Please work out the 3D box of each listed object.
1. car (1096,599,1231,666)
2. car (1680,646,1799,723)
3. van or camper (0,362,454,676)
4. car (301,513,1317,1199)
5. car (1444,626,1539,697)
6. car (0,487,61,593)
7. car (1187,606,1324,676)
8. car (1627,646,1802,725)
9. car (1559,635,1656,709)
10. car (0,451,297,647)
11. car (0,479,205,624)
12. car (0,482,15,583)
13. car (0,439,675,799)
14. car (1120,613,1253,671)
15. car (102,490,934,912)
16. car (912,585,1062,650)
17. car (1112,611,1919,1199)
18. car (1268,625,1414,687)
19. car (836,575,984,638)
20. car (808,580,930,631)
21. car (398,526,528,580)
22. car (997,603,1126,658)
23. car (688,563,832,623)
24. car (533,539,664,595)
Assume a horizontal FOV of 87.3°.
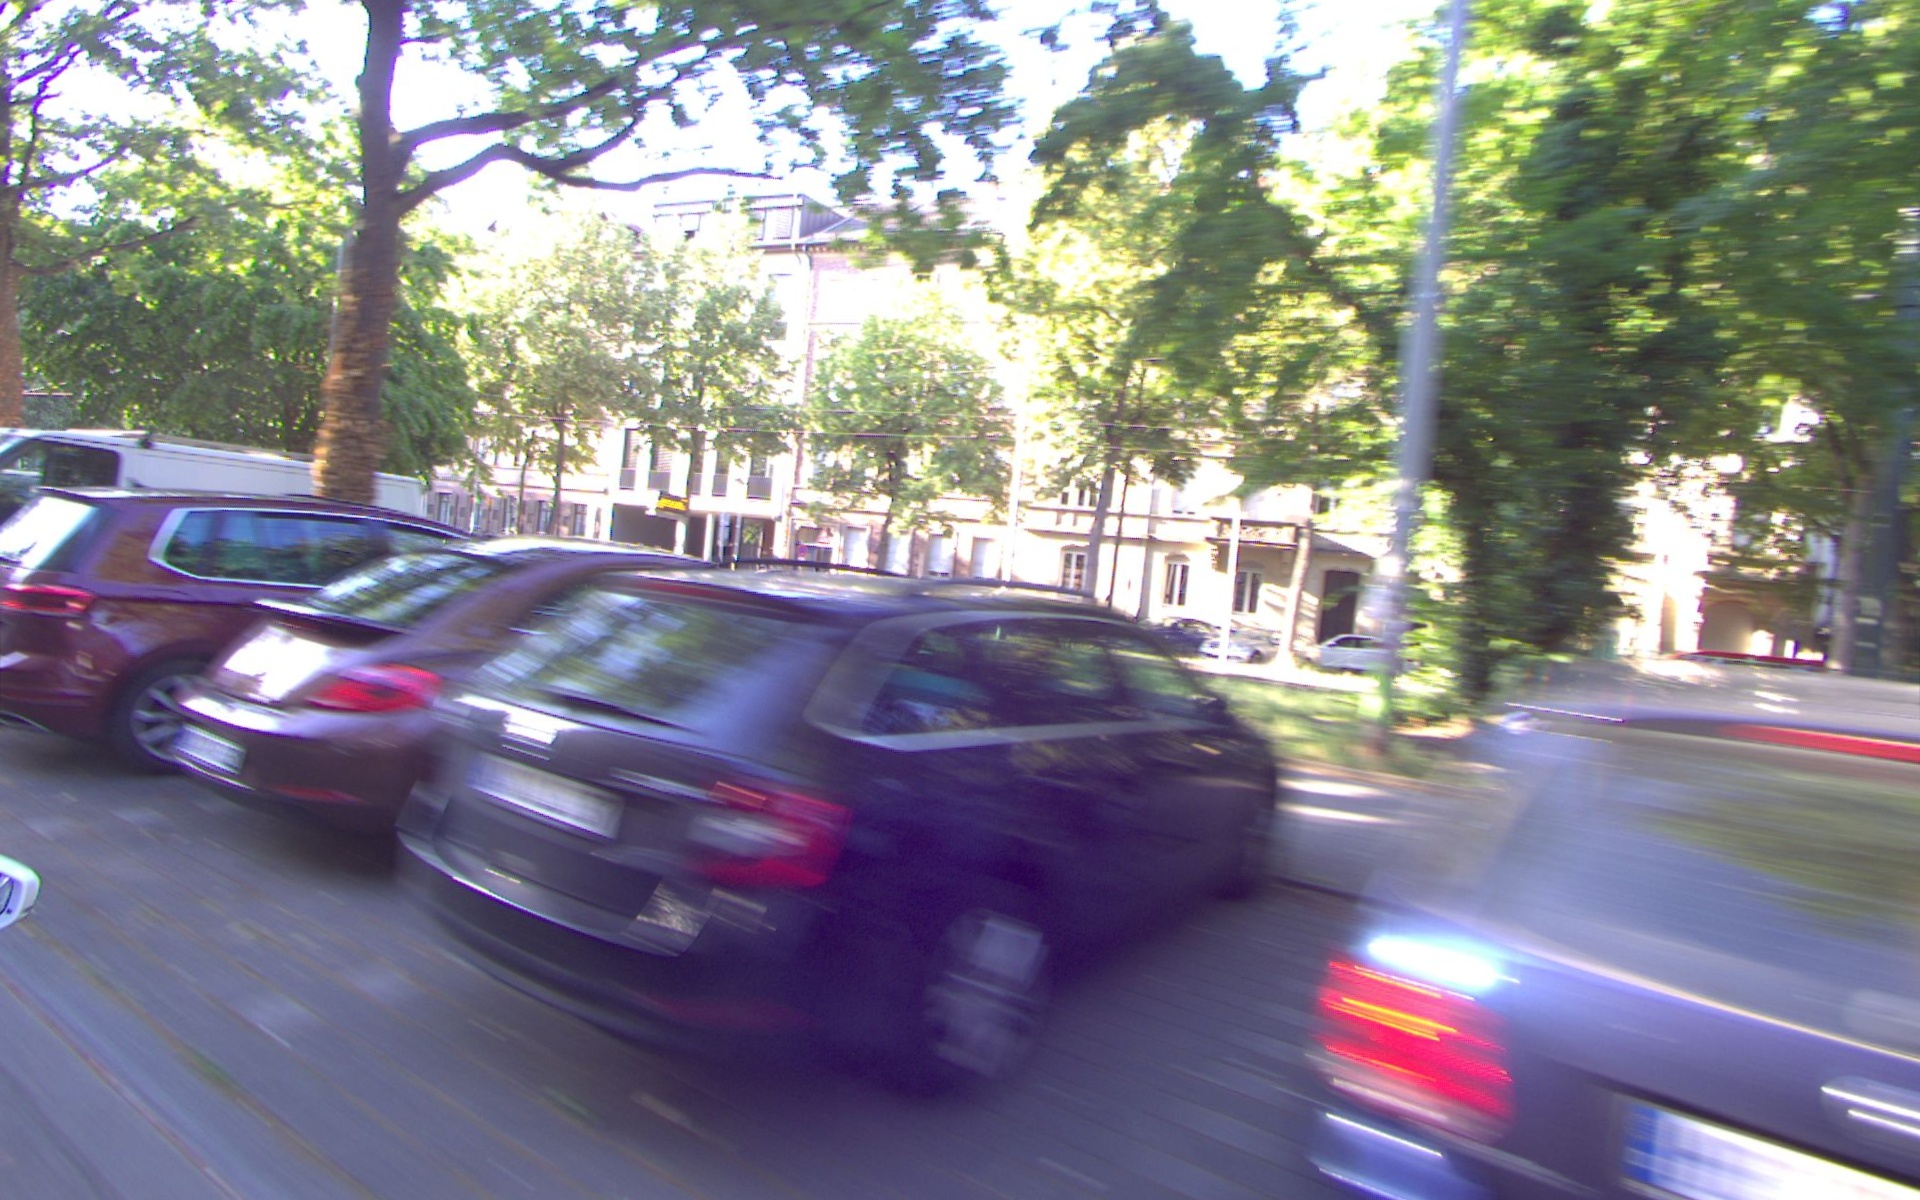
[{"bbox_3d":[6.436,1.050,31.606,3.967,1.704,1.980,7,-2,-38],"label":"car"},{"bbox_3d":[20.397,2.215,26.495,1.968,1.704,3.992,5,-2,32],"label":"car"},{"bbox_3d":[-7.847,-0.624,9.486,2.149,2.405,4.989,5,-2,31],"label":"van or camper"},{"bbox_3d":[-0.024,0.622,4.265,1.835,1.472,4.219,6,2,33],"label":"car"},{"bbox_3d":[15.033,1.763,28.341,1.968,1.704,3.992,5,-2,32],"label":"car"},{"bbox_3d":[-16.155,-1.098,14.743,1.828,1.566,3.994,5,-2,30],"label":"car"},{"bbox_3d":[8.996,1.259,30.530,3.967,1.704,1.980,7,-2,-38],"label":"car"},{"bbox_3d":[24.080,2.691,32.285,3.925,2.038,2.001,5,-1,18],"label":"car"},{"bbox_3d":[17.607,1.980,27.451,1.968,1.704,3.992,5,-2,32],"label":"car"},{"bbox_3d":[-9.921,-0.579,10.958,1.827,1.839,3.994,7,-1,30],"label":"car"},{"bbox_3d":[-11.924,-0.668,12.163,1.828,1.566,3.994,5,-2,30],"label":"car"},{"bbox_3d":[-18.363,-1.383,16.038,1.828,1.719,4.398,5,-2,30],"label":"car"},{"bbox_3d":[-4.203,0.077,6.944,1.829,1.714,3.986,6,2,33],"label":"car"},{"bbox_3d":[8.621,1.591,38.186,4.650,1.707,2.001,5,-1,19],"label":"car"},{"bbox_3d":[-2.084,0.377,5.797,1.829,1.480,3.986,6,2,33],"label":"car"},{"bbox_3d":[0.935,0.597,33.804,4.669,1.704,1.983,7,-2,-34],"label":"car"},{"bbox_3d":[2.175,0.899,2.935,1.623,1.472,4.215,7,2,36],"label":"car"},{"bbox_3d":[13.547,1.991,36.051,4.650,1.707,2.001,5,-1,19],"label":"car"},{"bbox_3d":[-1.689,0.237,34.791,4.669,1.704,1.983,7,-2,-34],"label":"car"},{"bbox_3d":[-3.891,0.226,43.075,4.650,1.707,2.001,5,-1,19],"label":"car"},{"bbox_3d":[-21.397,-1.978,43.391,4.671,1.704,1.982,7,-2,-35],"label":"car"},{"bbox_3d":[4.044,1.215,40.010,4.650,1.707,2.001,5,-1,19],"label":"car"},{"bbox_3d":[-7.268,-0.232,36.744,4.669,1.704,1.983,7,-2,-34],"label":"car"},{"bbox_3d":[-14.839,-1.315,41.380,4.669,1.704,1.983,7,-2,-34],"label":"car"}]
